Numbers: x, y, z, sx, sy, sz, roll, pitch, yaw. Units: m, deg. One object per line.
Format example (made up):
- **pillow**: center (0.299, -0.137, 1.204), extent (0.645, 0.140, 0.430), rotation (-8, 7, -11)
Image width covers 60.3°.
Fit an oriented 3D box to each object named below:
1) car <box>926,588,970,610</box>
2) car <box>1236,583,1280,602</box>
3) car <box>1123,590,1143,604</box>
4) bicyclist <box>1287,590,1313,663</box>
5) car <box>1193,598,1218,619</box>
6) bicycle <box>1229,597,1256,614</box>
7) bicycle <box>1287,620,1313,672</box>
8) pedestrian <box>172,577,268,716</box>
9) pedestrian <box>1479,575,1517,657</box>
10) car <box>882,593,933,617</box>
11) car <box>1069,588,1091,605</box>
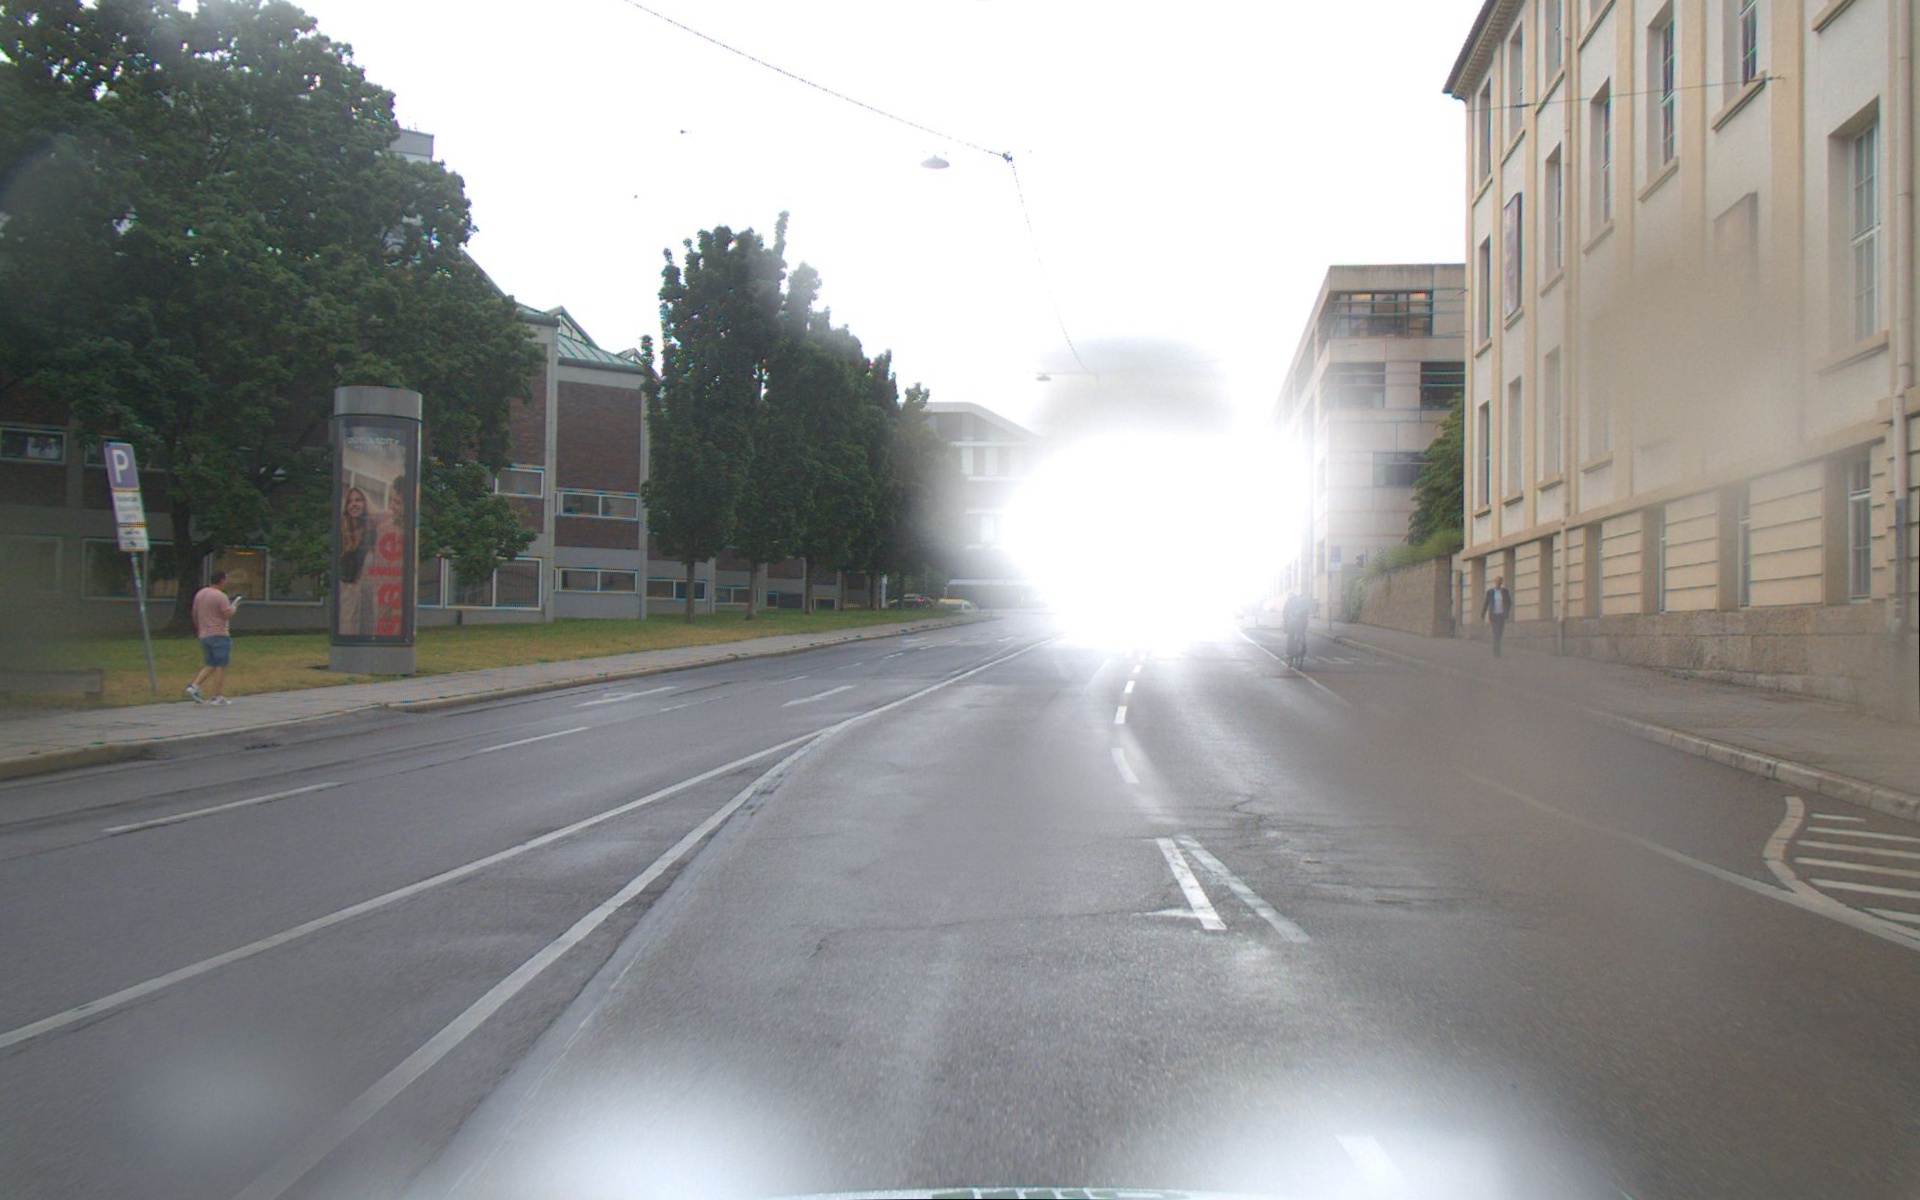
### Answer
- **car**: center (-1.296, -0.067, 175.085), extent (4.495, 2.212, 1.932), rotation (2, 0, 2)
- **car**: center (30.974, -0.755, 171.836), extent (4.344, 1.742, 1.906), rotation (-2, -1, 7)
- **car**: center (19.385, -0.339, 185.415), extent (1.841, 1.517, 5.224), rotation (-2, 0, 10)
- **bicyclist**: center (6.967, 0.534, 33.907), extent (0.474, 1.458, 0.931), rotation (1, 0, 10)
- **car**: center (19.482, 0.652, 131.543), extent (1.733, 1.632, 4.397), rotation (1, 0, 6)
- **bicycle**: center (18.555, 0.360, 108.635), extent (1.693, 1.138, 0.660), rotation (1, 0, 2)
- **bicycle**: center (6.963, 0.929, 33.897), extent (0.438, 0.980, 1.691), rotation (1, 1, 10)
- **pedestrian**: center (-9.486, 0.584, 21.214), extent (0.656, 1.716, 0.914), rotation (1, 0, 15)
- **pedestrian**: center (12.211, 0.358, 37.550), extent (0.656, 1.829, 0.852), rotation (1, 0, 9)
- **car**: center (-4.348, 0.388, 137.002), extent (3.822, 1.847, 1.936), rotation (2, 0, 10)
- **car**: center (11.681, -0.343, 160.902), extent (1.810, 1.646, 4.494), rotation (1, 0, 8)
